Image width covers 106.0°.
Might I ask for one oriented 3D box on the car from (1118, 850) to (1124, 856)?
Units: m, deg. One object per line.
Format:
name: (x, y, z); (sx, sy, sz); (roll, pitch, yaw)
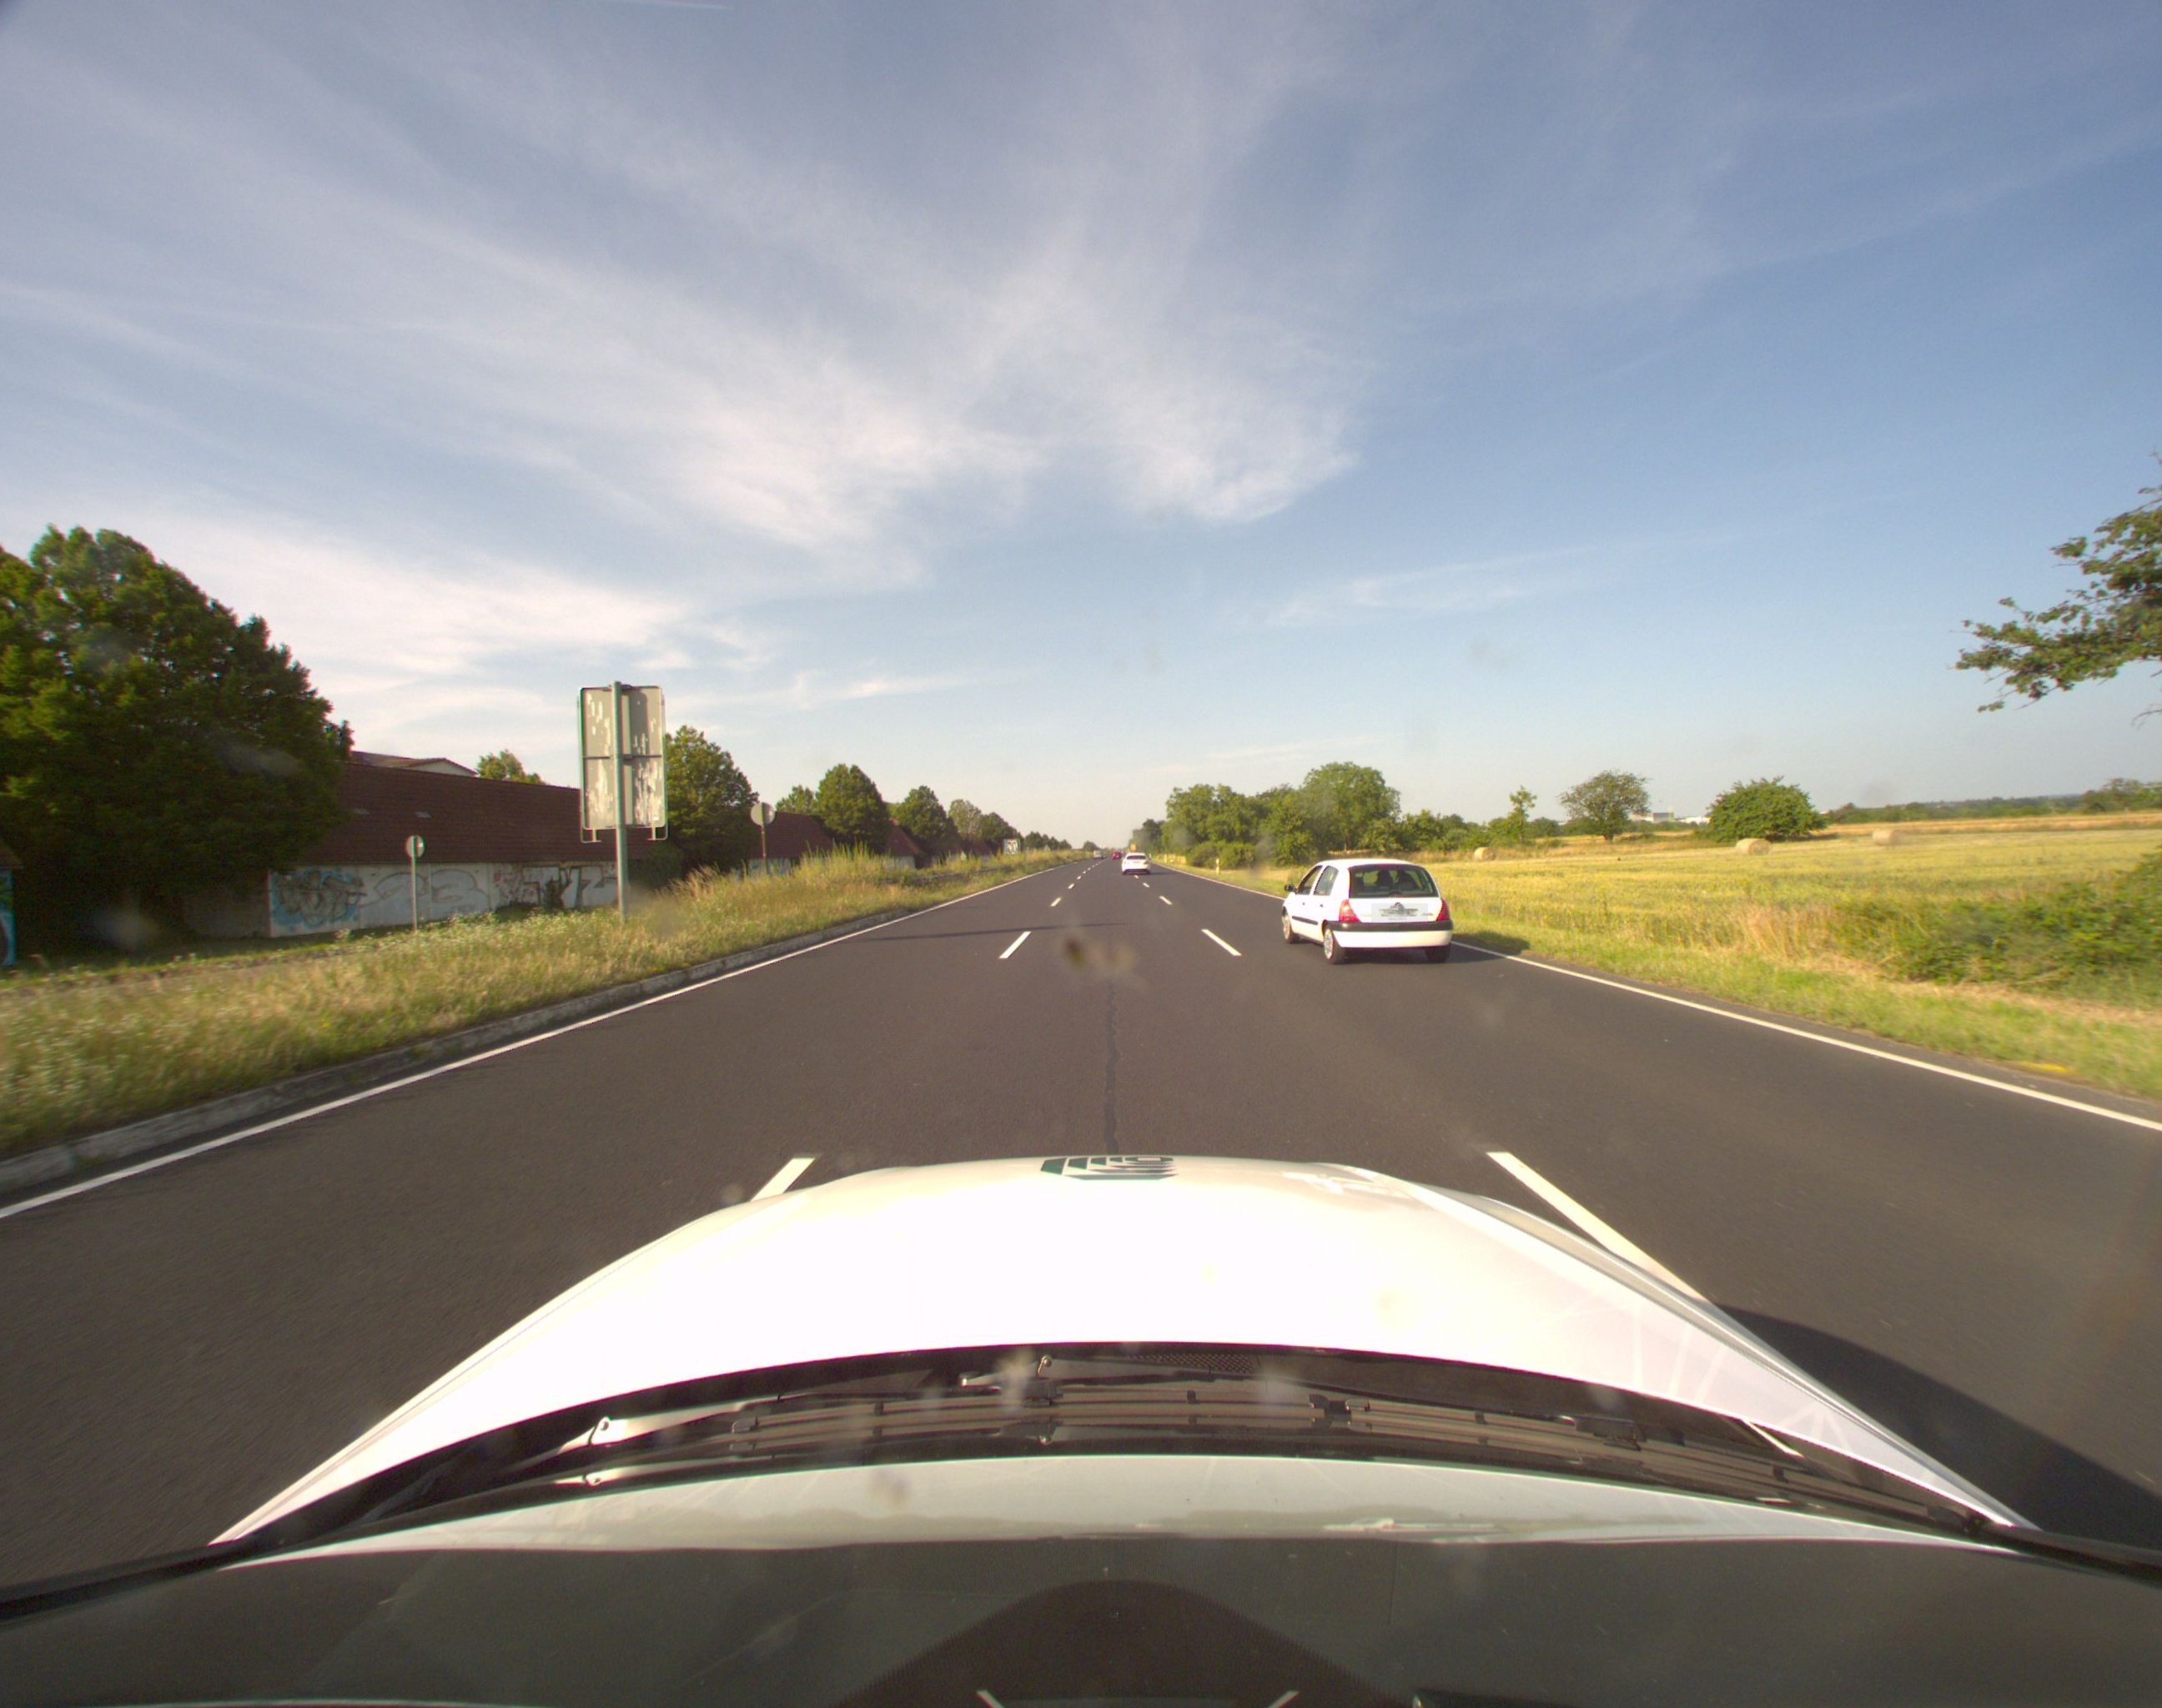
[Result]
car: (12.401, -0.290, 250.031); (1.762, 1.684, 4.003); (-1, -1, 3)

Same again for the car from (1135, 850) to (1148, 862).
car: (9.481, 0.328, 127.663); (1.820, 1.728, 4.002); (-1, -1, 2)

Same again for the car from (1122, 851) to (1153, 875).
car: (3.740, 0.623, 54.708); (1.985, 1.516, 4.002); (-1, -1, 3)

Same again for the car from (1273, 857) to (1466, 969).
car: (4.077, 0.764, 12.199); (1.611, 1.387, 3.953); (-1, -1, 2)

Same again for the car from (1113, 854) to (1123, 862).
car: (6.993, 0.719, 152.281); (1.805, 1.436, 3.860); (-1, -1, 2)

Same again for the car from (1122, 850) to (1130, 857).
car: (10.829, -0.149, 194.864); (1.762, 1.684, 4.003); (-1, -1, 3)

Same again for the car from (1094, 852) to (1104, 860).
car: (3.635, 0.420, 165.387); (1.750, 1.618, 4.005); (-1, -1, 4)
